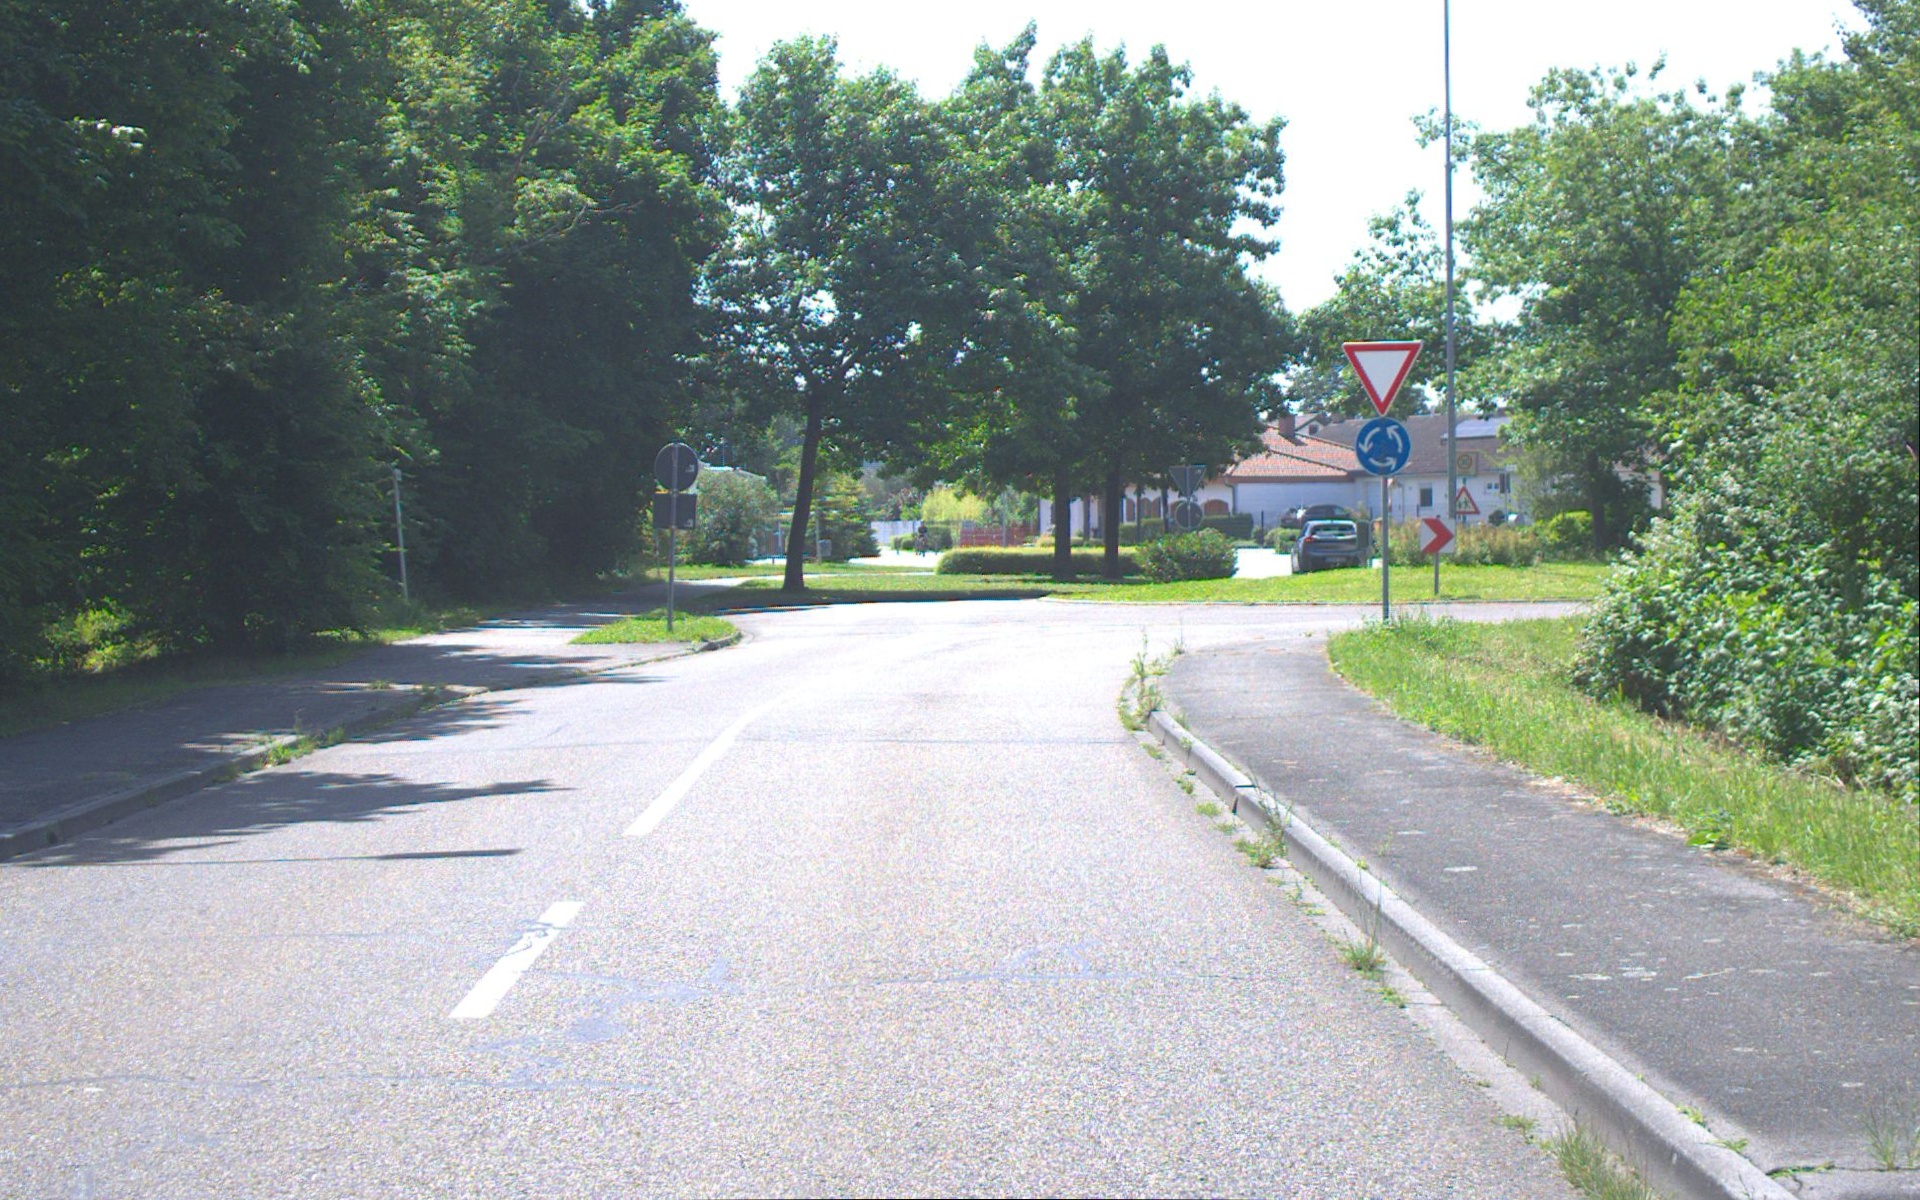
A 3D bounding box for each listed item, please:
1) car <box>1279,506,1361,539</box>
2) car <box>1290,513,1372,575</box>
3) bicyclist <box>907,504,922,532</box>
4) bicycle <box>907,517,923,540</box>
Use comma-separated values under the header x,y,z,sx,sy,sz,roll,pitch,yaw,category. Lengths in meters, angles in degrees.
x,y,z,sx,sy,sz,roll,pitch,yaw,category
17.258,-3.726,164.804,3.826,1.537,1.853,-2,1,-42,car
9.267,-1.423,86.056,1.628,1.481,4.000,-1,2,1,car
-1.889,-3.417,143.860,0.597,1.160,0.648,-1,1,-1,bicyclist
-1.887,-3.003,143.975,0.597,0.925,1.620,-1,1,-1,bicycle
